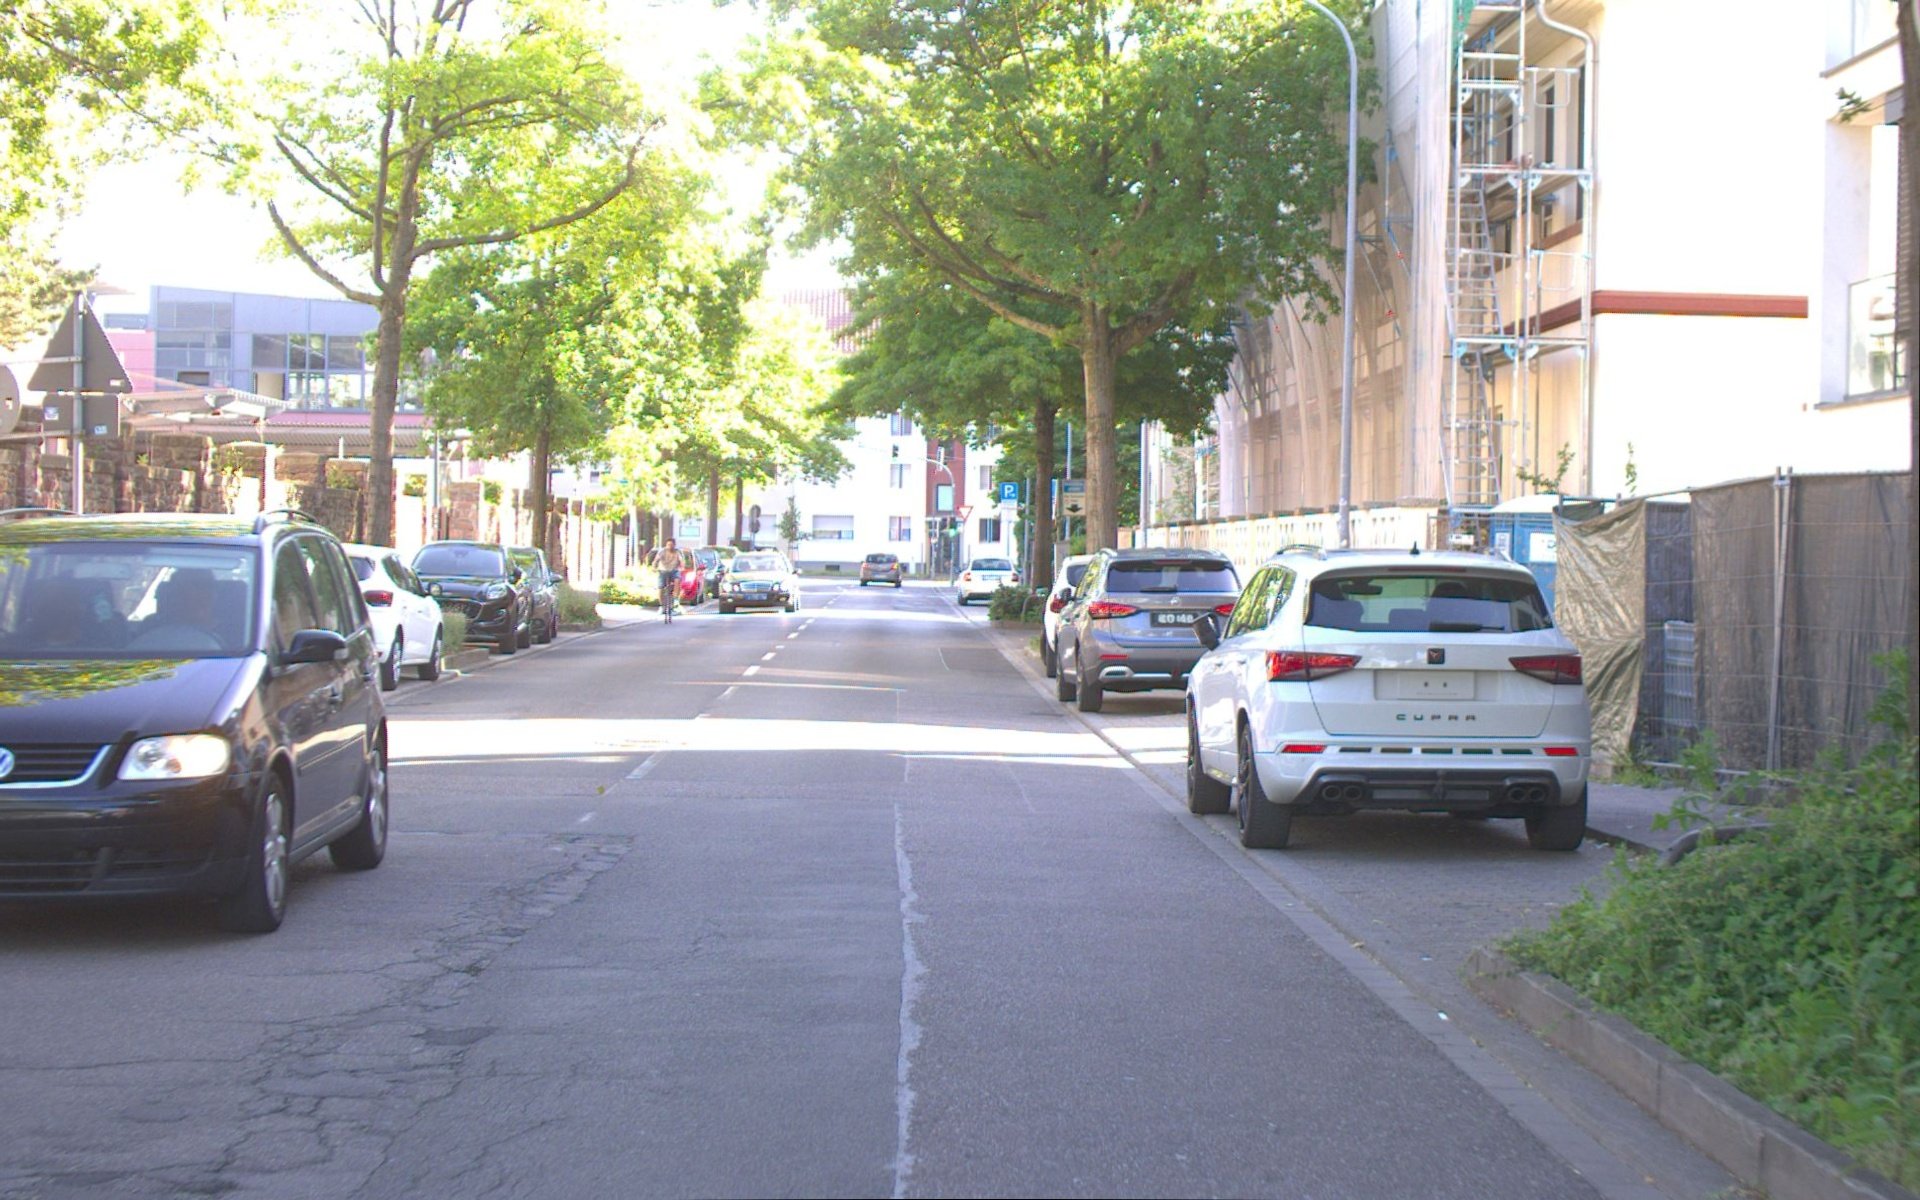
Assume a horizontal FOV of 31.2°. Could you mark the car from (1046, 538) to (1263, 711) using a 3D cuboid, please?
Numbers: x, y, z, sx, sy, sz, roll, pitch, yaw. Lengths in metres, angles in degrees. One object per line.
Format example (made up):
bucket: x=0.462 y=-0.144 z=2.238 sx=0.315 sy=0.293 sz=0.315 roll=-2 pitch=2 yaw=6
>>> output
car: x=1.930 y=0.199 z=35.300 sx=1.712 sy=1.632 sz=4.303 roll=2 pitch=1 yaw=-3

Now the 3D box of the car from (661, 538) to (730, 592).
car: x=-8.164 y=-1.092 z=106.356 sx=1.737 sy=1.587 sz=4.107 roll=2 pitch=1 yaw=0

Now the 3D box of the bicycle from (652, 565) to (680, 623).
bicycle: x=-5.921 y=-0.131 z=69.281 sx=0.357 sy=1.117 sz=1.866 roll=3 pitch=1 yaw=0

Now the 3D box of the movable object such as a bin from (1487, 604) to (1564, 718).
movable object such as a bin: x=5.322 y=0.566 z=32.378 sx=0.598 sy=1.023 sz=0.564 roll=3 pitch=1 yaw=2

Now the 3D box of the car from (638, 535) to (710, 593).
car: x=-7.711 y=-0.979 z=92.809 sx=1.609 sy=1.454 sz=3.708 roll=3 pitch=1 yaw=-1

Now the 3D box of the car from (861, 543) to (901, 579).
car: x=-3.384 y=-1.664 z=147.735 sx=1.639 sy=1.438 sz=3.421 roll=3 pitch=1 yaw=-1

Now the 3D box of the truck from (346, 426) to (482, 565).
truck: x=-15.674 y=-2.958 z=99.229 sx=2.732 sy=3.698 sz=7.429 roll=3 pitch=1 yaw=-2

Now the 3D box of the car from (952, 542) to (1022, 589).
car: x=0.773 y=-1.027 z=100.423 sx=1.832 sy=1.318 sz=4.496 roll=1 pitch=1 yaw=-2

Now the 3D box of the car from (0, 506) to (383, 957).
car: x=-3.454 y=0.435 z=14.255 sx=1.643 sy=1.606 sz=4.022 roll=0 pitch=1 yaw=-3

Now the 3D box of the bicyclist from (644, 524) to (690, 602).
bicyclist: x=-5.897 y=-0.745 z=69.238 sx=0.721 sy=1.517 sz=1.005 roll=3 pitch=1 yaw=2

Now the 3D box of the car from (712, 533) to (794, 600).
car: x=-4.955 y=-0.825 z=82.619 sx=1.821 sy=1.431 sz=3.970 roll=4 pitch=1 yaw=-3

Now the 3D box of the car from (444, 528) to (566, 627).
car: x=-7.136 y=-0.376 z=54.134 sx=1.686 sy=1.417 sz=3.839 roll=3 pitch=1 yaw=-5

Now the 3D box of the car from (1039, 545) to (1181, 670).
car: x=1.900 y=0.059 z=44.061 sx=1.724 sy=1.505 sz=3.992 roll=0 pitch=1 yaw=2

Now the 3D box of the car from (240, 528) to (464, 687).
car: x=-6.538 y=0.044 z=37.310 sx=1.676 sy=1.506 sz=3.850 roll=5 pitch=1 yaw=-1

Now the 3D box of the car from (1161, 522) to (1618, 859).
car: x=2.275 y=0.418 z=19.277 sx=1.792 sy=1.610 sz=4.127 roll=3 pitch=1 yaw=-3

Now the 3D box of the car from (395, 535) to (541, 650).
car: x=-6.937 y=-0.125 z=48.797 sx=1.573 sy=1.510 sz=4.045 roll=2 pitch=1 yaw=-2
